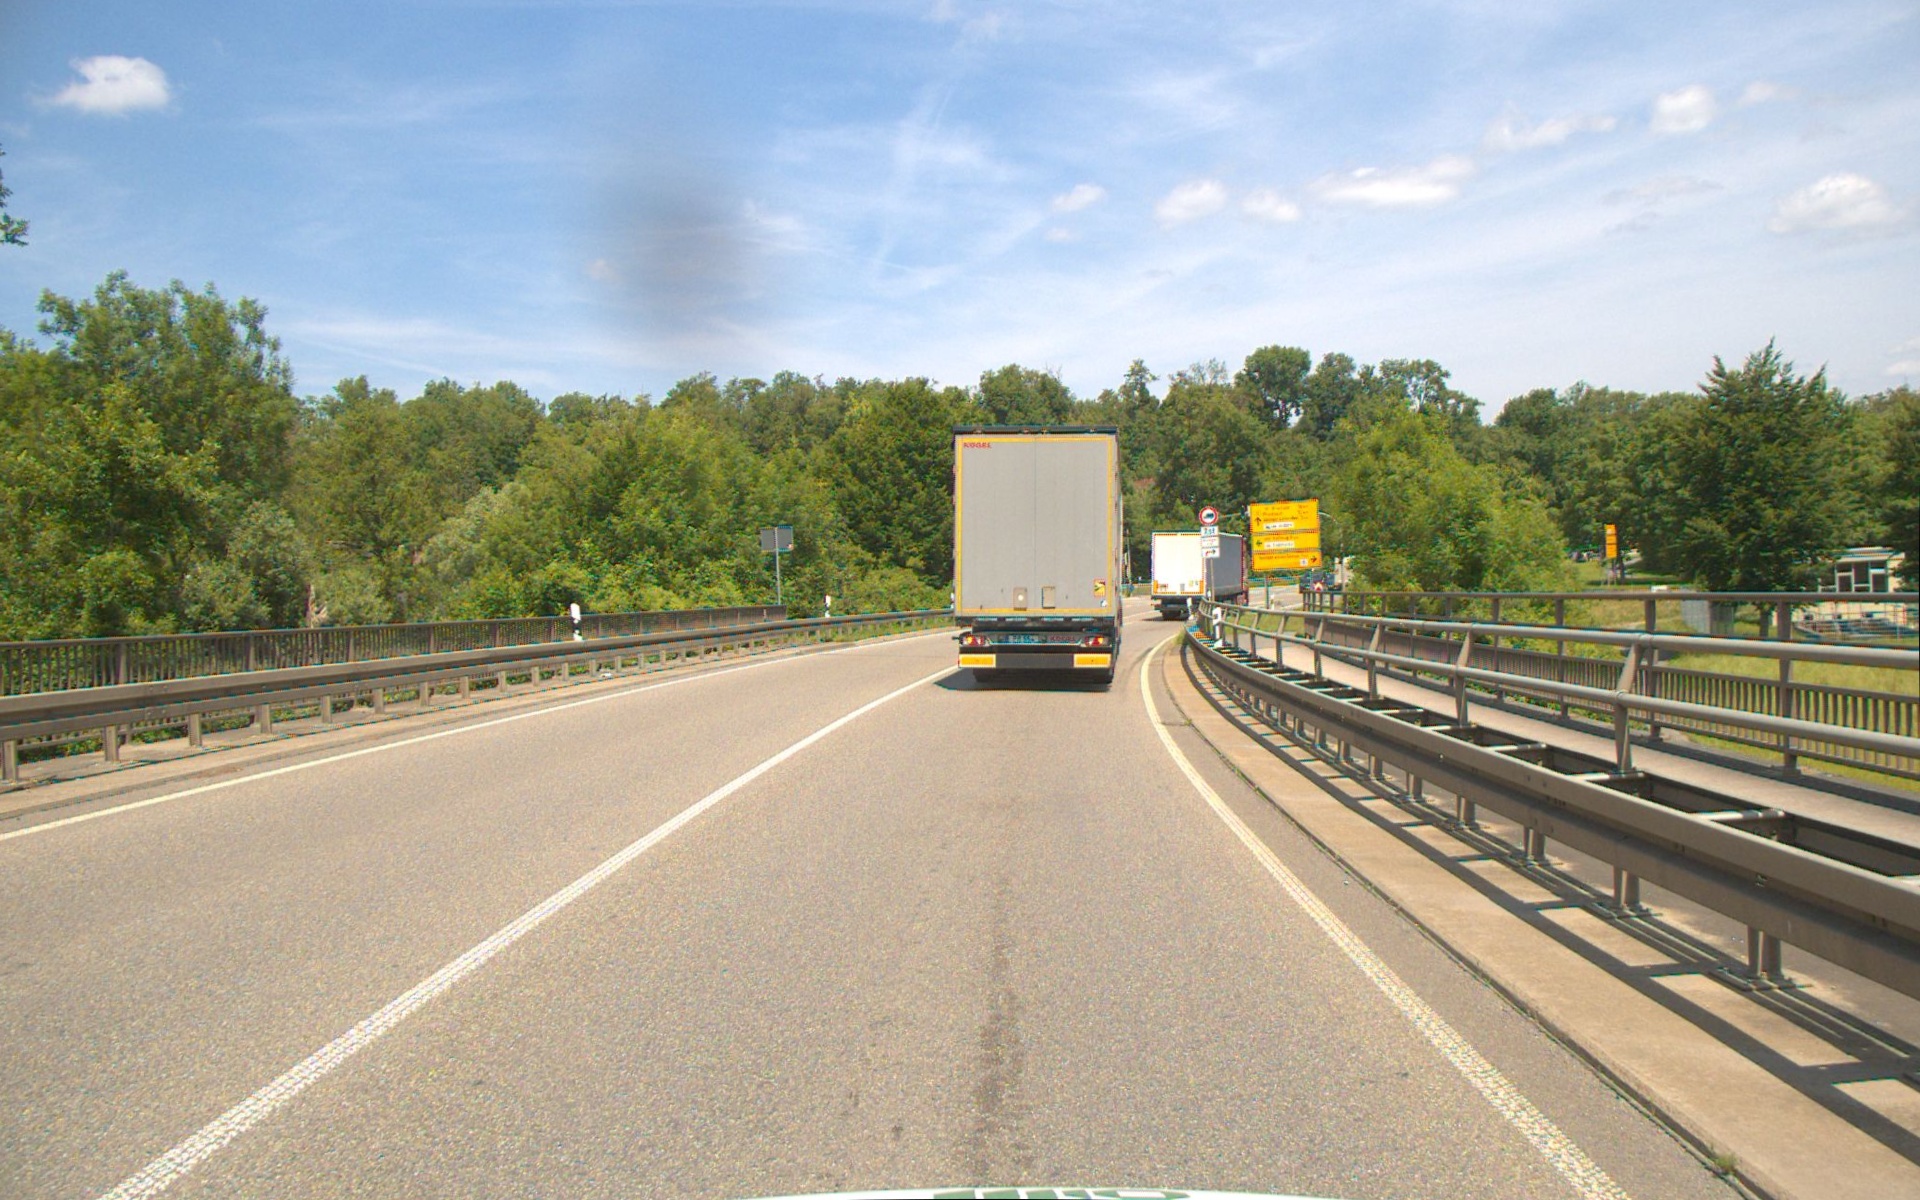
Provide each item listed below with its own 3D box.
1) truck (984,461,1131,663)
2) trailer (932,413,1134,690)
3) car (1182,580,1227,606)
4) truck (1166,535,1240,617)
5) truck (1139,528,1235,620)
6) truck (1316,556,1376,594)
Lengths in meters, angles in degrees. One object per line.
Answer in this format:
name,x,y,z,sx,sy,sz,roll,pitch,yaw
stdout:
truck,2.310,-0.788,37.224,2.974,4.104,6.634,0,0,6
trailer,1.685,-0.751,30.981,2.987,4.104,12.567,0,0,6
car,15.427,-0.418,104.175,1.952,1.545,4.000,1,-1,21
truck,12.526,-1.178,84.913,3.101,4.074,5.819,0,0,15
truck,11.045,-1.159,79.375,3.111,4.099,11.754,0,0,15
truck,30.852,-2.003,132.021,2.801,2.999,7.094,0,1,29
